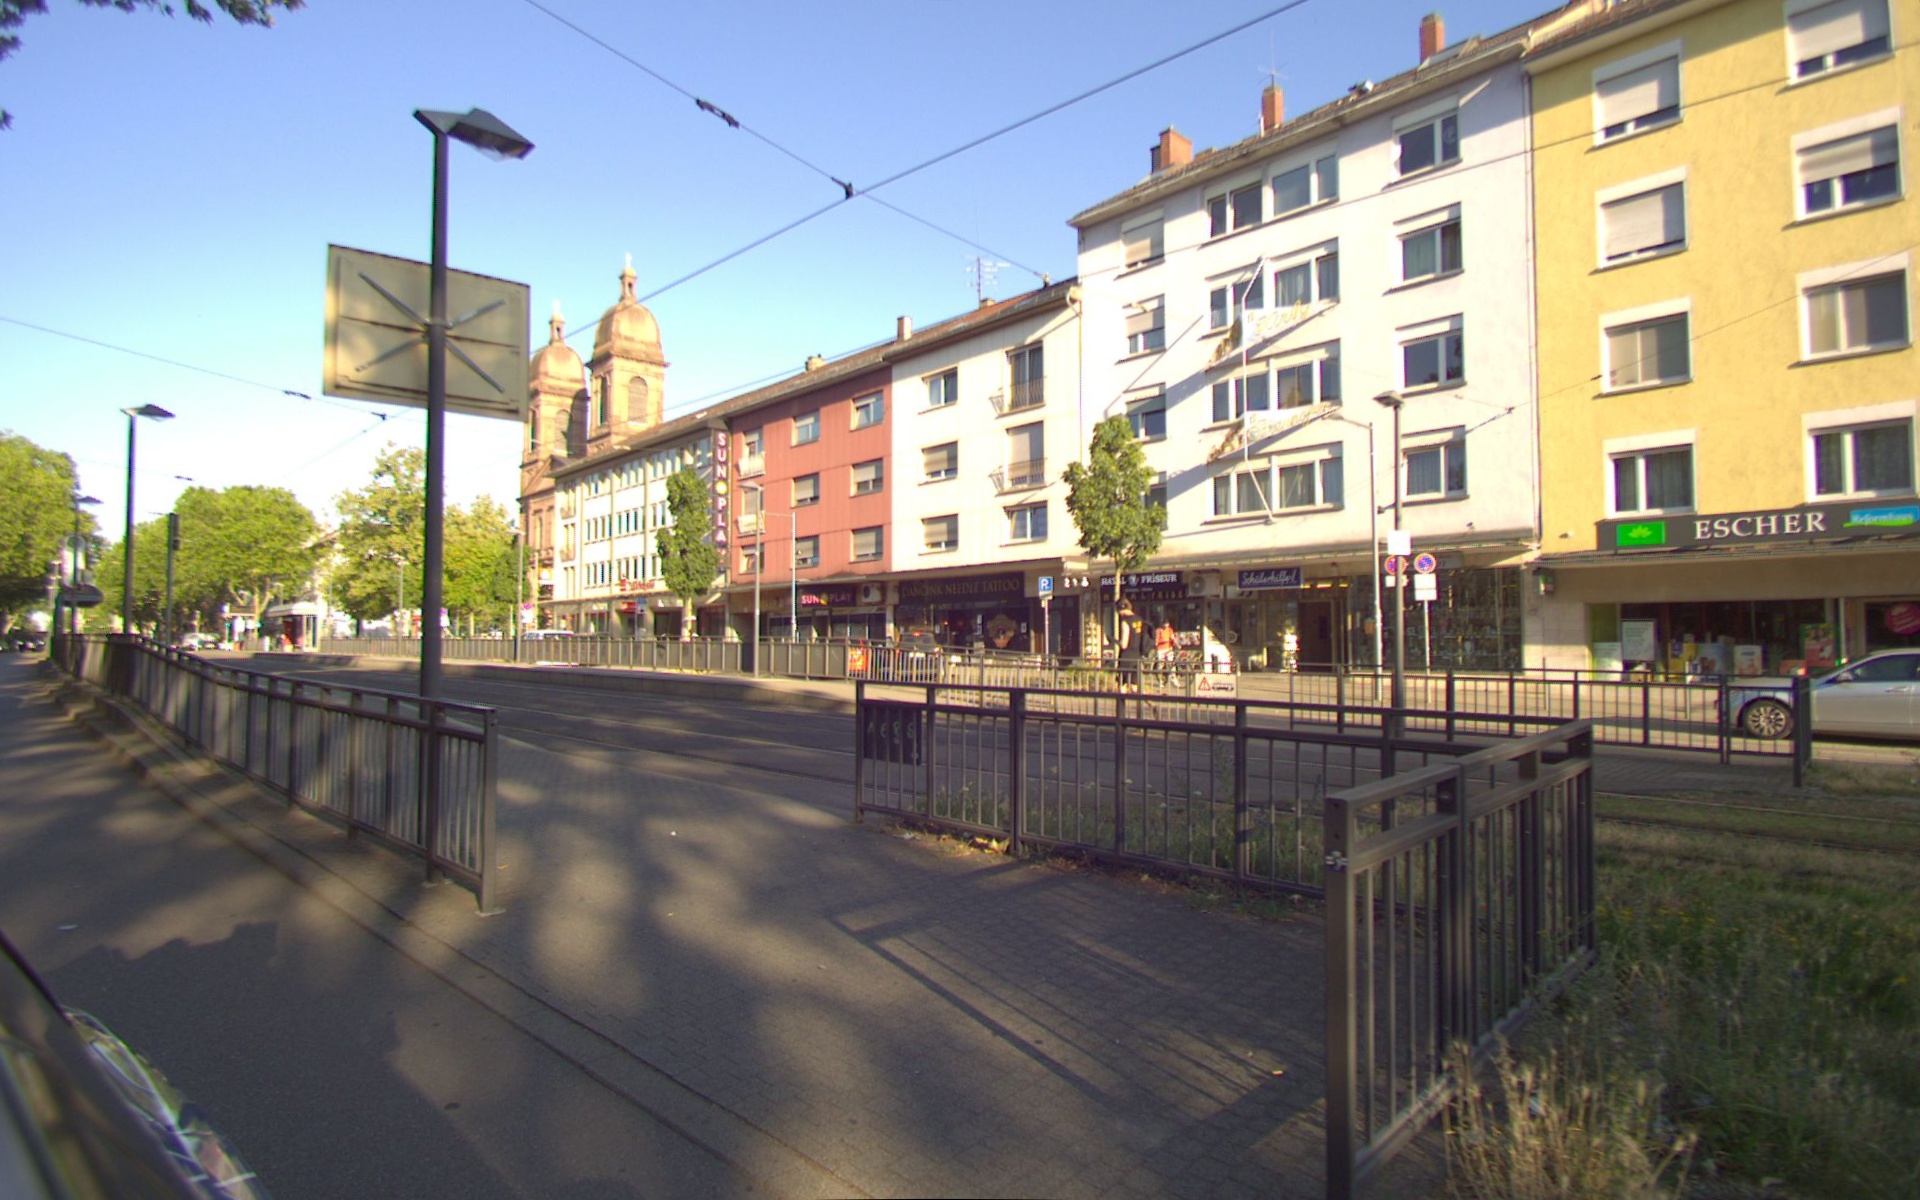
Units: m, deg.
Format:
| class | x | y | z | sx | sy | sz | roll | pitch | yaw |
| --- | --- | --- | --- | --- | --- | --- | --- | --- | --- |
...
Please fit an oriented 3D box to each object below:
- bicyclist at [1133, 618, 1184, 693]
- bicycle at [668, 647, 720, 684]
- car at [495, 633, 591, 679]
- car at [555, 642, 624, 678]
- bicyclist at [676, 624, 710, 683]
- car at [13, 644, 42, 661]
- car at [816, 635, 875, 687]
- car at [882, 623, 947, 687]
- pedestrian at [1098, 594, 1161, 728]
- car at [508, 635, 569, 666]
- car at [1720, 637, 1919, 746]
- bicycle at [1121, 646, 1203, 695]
| class | x | y | z | sx | sy | sz | roll | pitch | yaw |
| --- | --- | --- | --- | --- | --- | --- | --- | --- | --- |
| bicyclist | 5.194 | 1.440 | 26.508 | 0.683 | 1.901 | 1.060 | -2 | -1 | -35 |
| bicycle | -9.366 | 2.280 | 35.553 | 0.709 | 1.239 | 2.280 | 3 | -4 | -44 |
| car | -16.521 | 2.185 | 39.982 | 1.970 | 1.730 | 4.438 | 3 | -4 | -45 |
| car | -17.992 | 2.869 | 49.349 | 1.844 | 1.541 | 3.998 | -1 | -1 | 1 |
| bicyclist | -9.383 | 1.883 | 35.589 | 0.755 | 2.029 | 0.912 | 3 | -4 | -44 |
| car | -85.410 | 4.773 | 92.666 | 4.000 | 1.409 | 1.695 | -2 | -1 | 43 |
| car | -3.848 | 2.026 | 34.224 | 1.835 | 1.502 | 3.774 | -1 | 0 | -5 |
| car | -1.518 | 1.717 | 32.559 | 1.835 | 1.813 | 3.774 | -1 | 0 | -5 |
| pedestrian | 2.443 | 0.871 | 14.554 | 0.589 | 1.863 | 0.734 | -2 | -4 | 41 |
| car | -22.807 | 2.704 | 54.876 | 1.719 | 1.497 | 4.000 | -1 | -1 | -1 |
| car | 14.236 | 1.327 | 15.083 | 1.971 | 1.489 | 4.413 | 0 | -1 | -45 |
| bicycle | 5.246 | 1.805 | 26.422 | 0.696 | 1.168 | 2.204 | -2 | -1 | -35 |
